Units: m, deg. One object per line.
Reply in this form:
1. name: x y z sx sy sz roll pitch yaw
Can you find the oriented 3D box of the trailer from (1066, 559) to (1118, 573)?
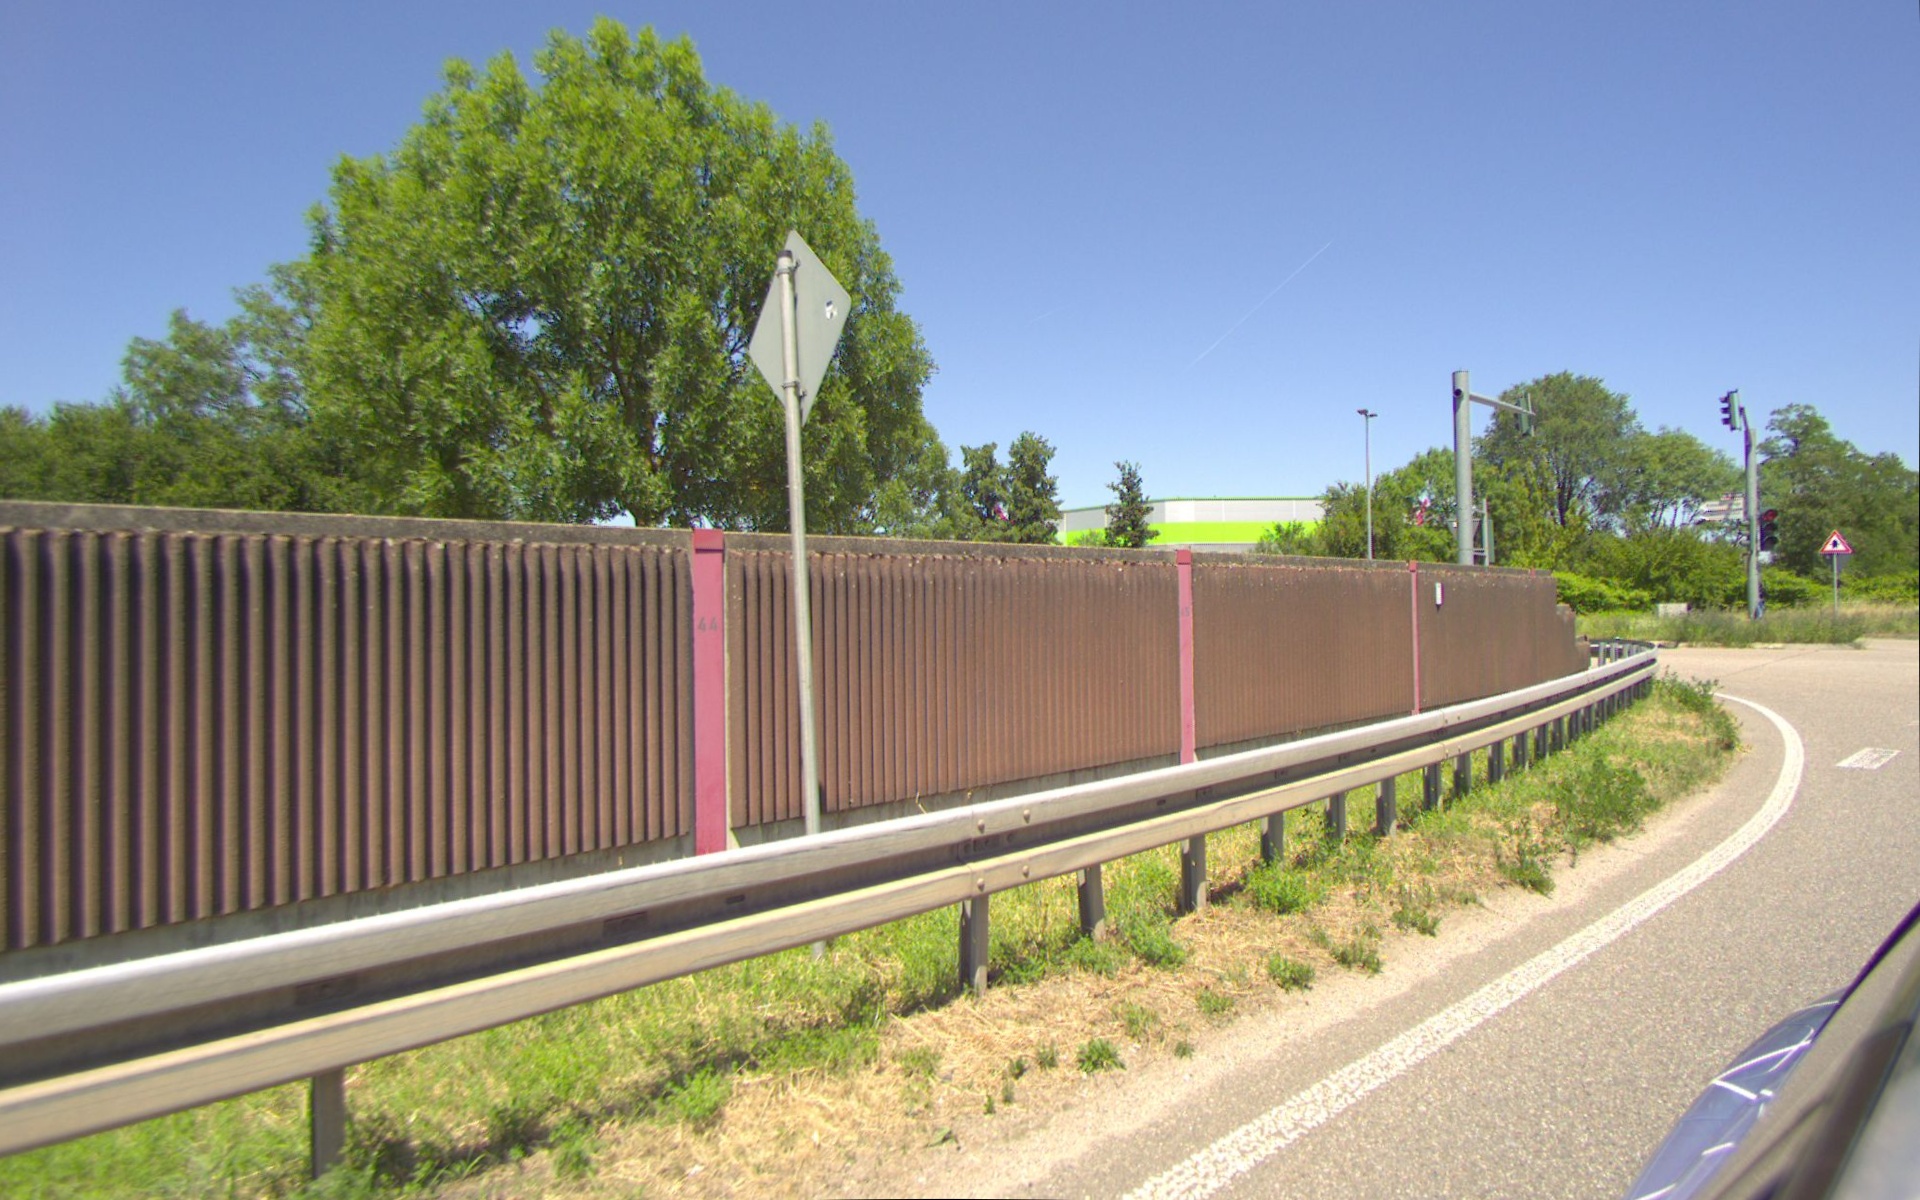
1. trailer: 7.294 -1.886 55.963 2.803 0.748 1.563 -1 1 7
